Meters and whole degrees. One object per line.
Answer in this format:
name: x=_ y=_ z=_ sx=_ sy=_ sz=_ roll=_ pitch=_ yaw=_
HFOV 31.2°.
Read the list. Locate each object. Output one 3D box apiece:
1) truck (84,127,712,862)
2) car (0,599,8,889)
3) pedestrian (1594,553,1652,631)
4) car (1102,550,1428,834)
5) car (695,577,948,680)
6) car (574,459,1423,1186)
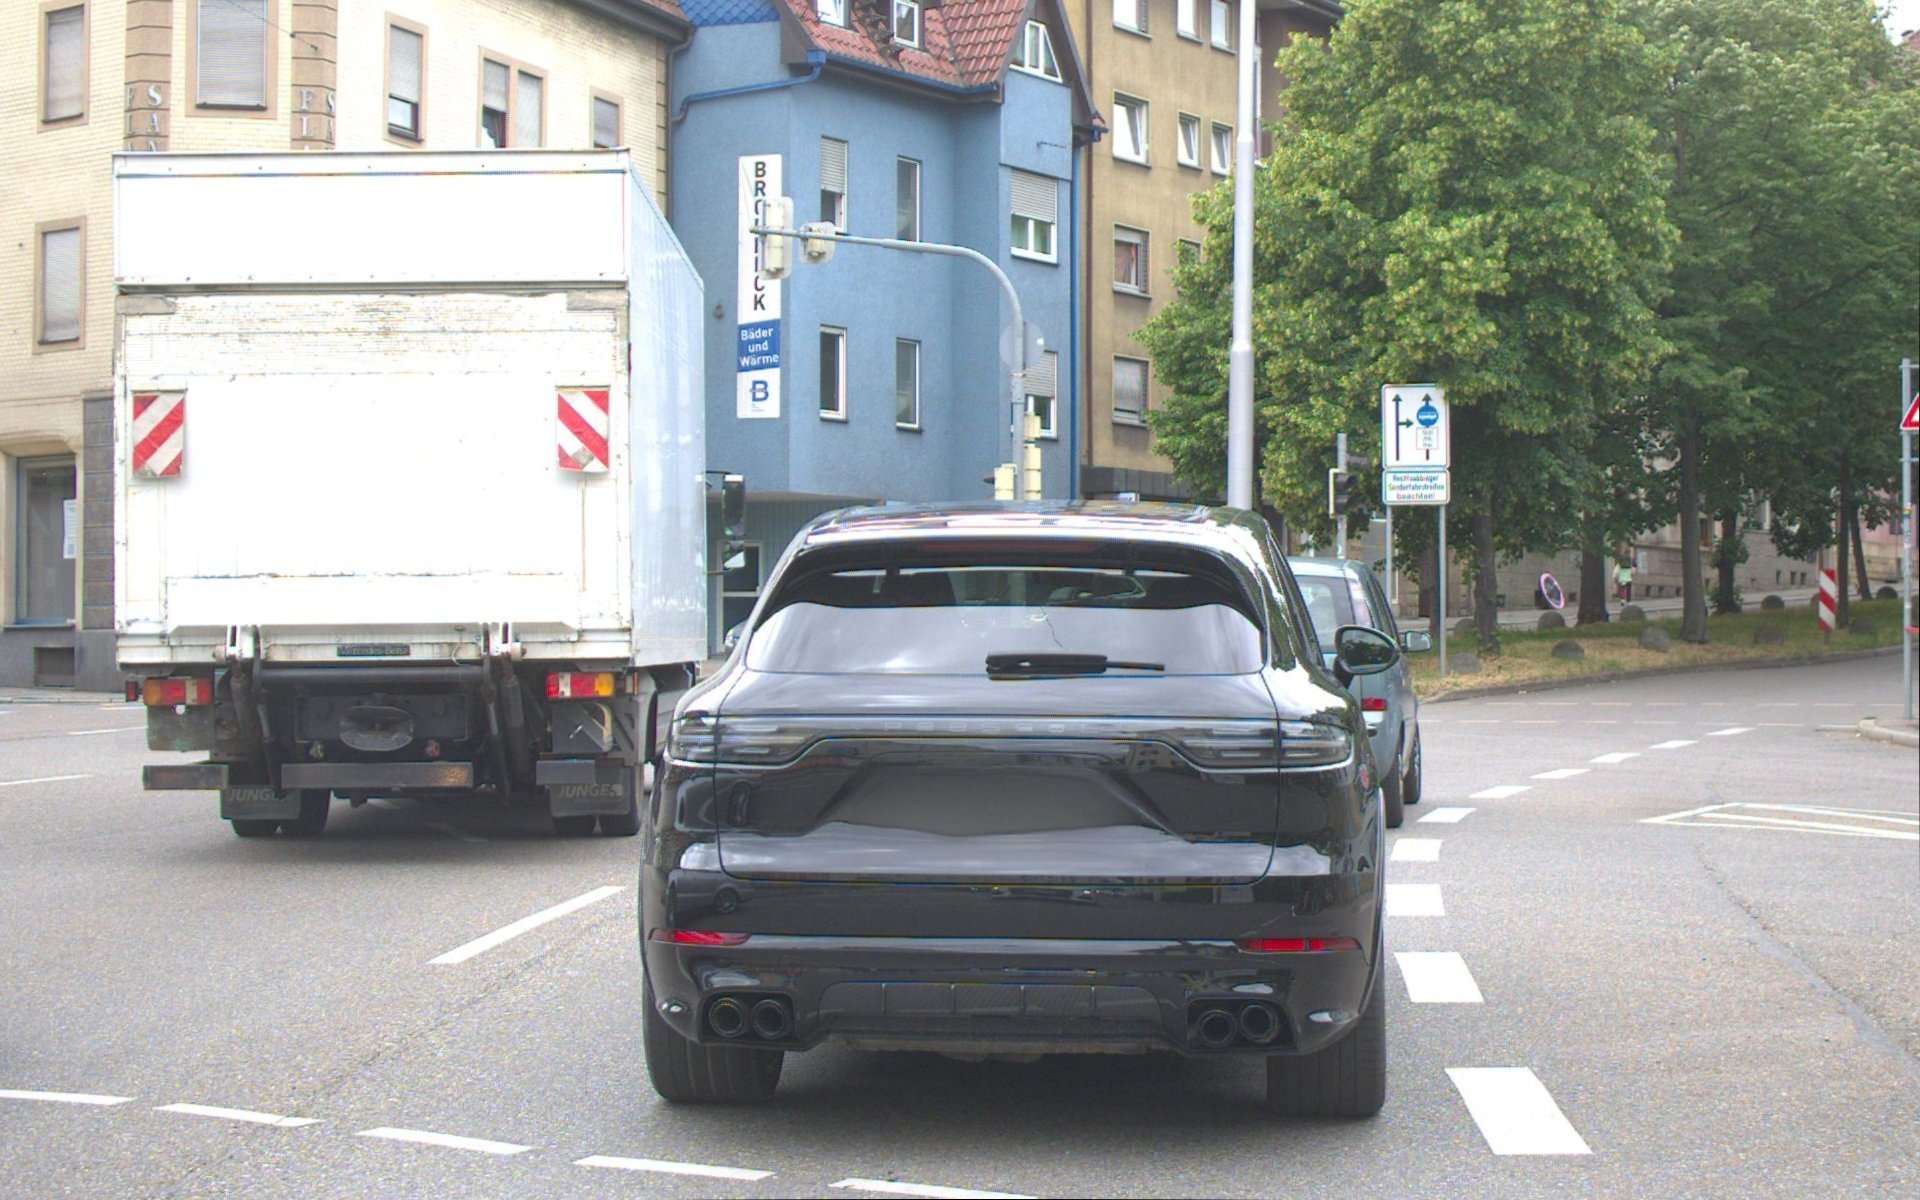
truck: x=-3.015 y=-0.549 z=20.817 sx=2.725 sy=3.532 sz=8.422 roll=0 pitch=1 yaw=-2
car: x=-3.711 y=0.679 z=8.166 sx=1.628 sy=1.360 sz=4.128 roll=2 pitch=1 yaw=1
pedestrian: x=17.160 y=-0.211 z=88.985 sx=1.194 sy=2.007 sz=0.987 roll=1 pitch=1 yaw=29
car: x=1.961 y=0.524 z=21.236 sx=1.649 sy=1.550 sz=3.581 roll=2 pitch=0 yaw=10
car: x=-2.034 y=0.423 z=51.759 sx=1.719 sy=1.471 sz=4.211 roll=-1 pitch=-1 yaw=32
car: x=0.260 y=0.498 z=10.539 sx=2.032 sy=1.717 sz=4.499 roll=1 pitch=1 yaw=5
